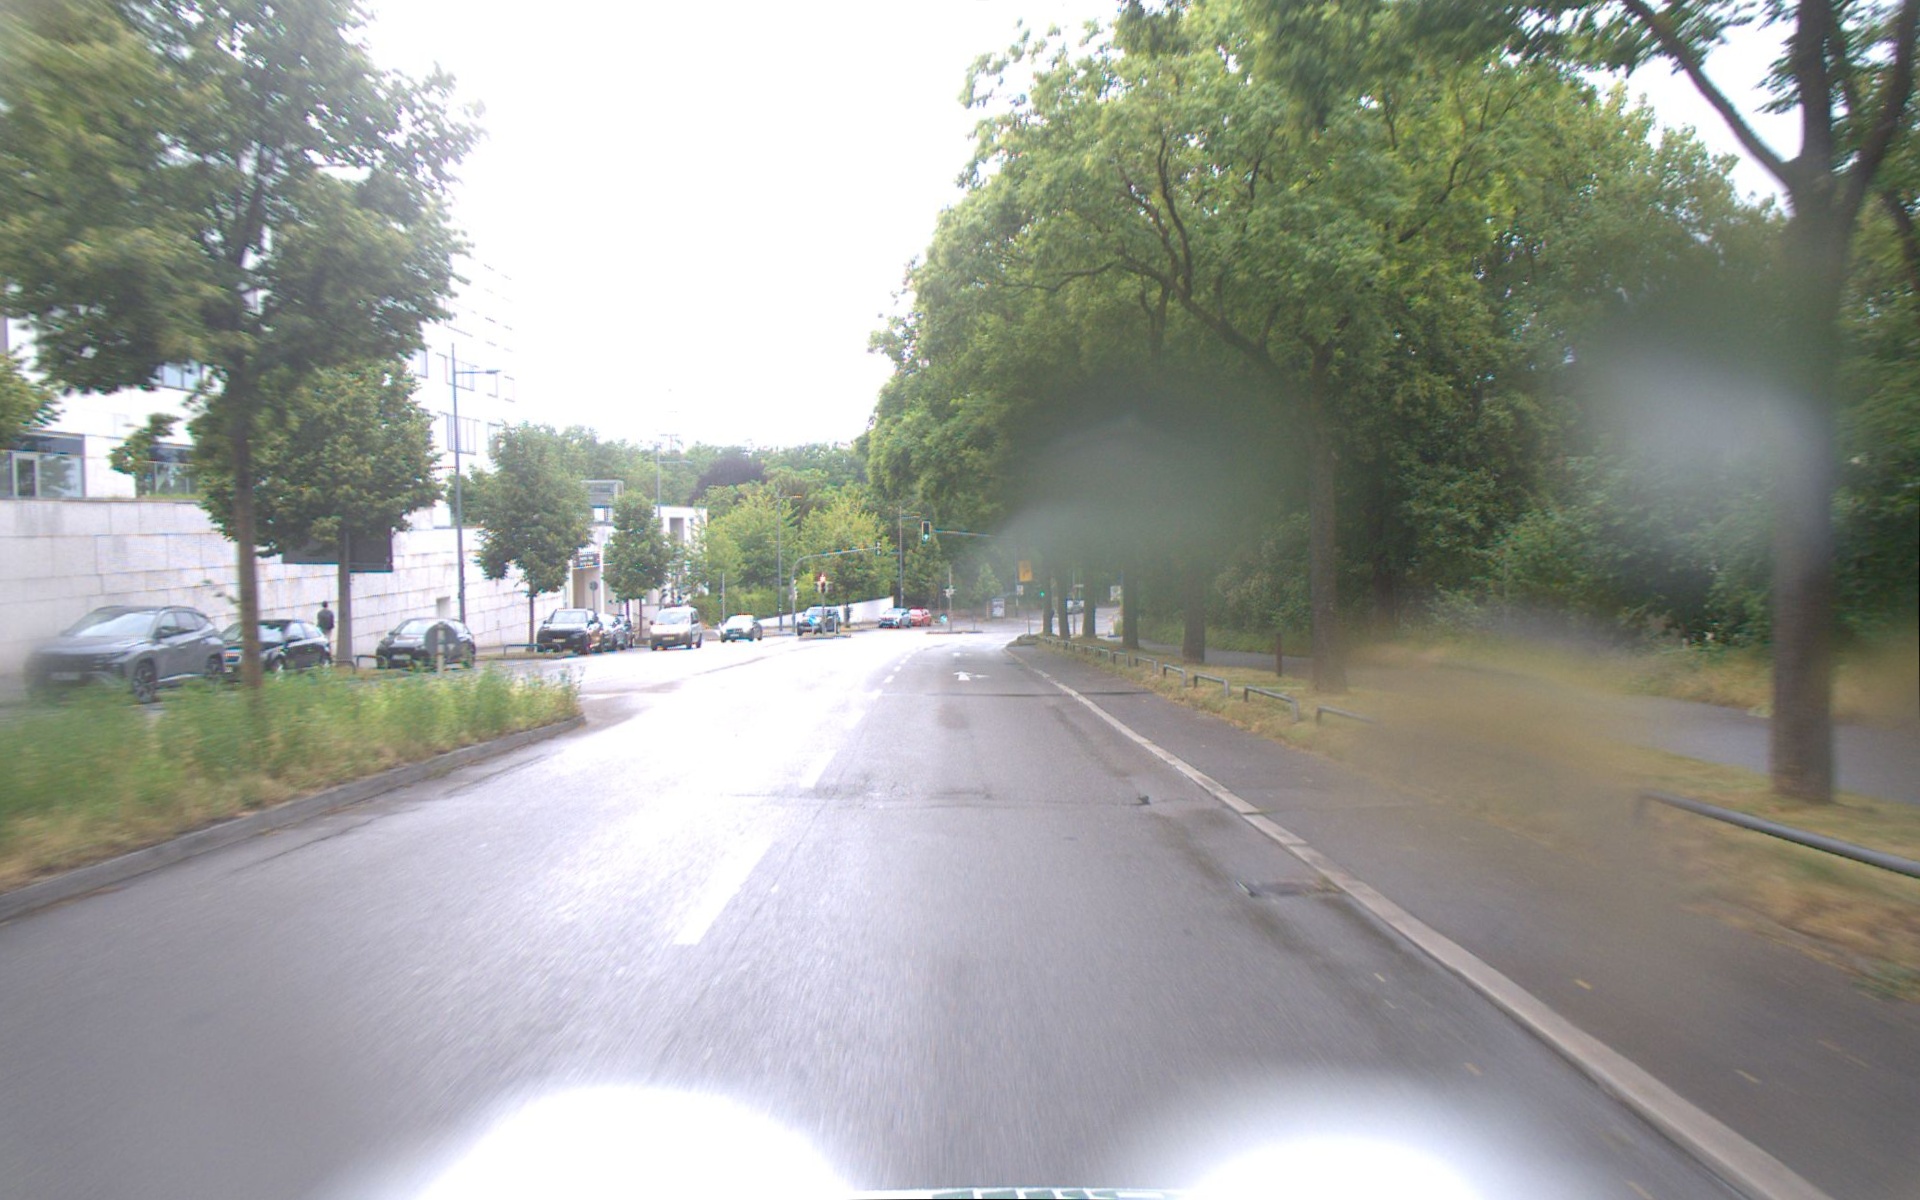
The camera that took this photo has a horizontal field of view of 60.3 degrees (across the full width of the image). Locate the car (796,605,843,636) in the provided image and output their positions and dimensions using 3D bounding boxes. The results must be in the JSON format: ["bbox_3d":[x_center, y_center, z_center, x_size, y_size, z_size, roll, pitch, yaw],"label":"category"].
[{"bbox_3d":[-9.637,1.389,113.708,1.880,1.889,4.510,-5,0,12],"label":"car"}]

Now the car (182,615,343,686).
[{"bbox_3d":[-14.833,1.045,35.429,1.660,1.384,4.163,-1,0,0],"label":"car"}]

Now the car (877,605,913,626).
[{"bbox_3d":[-5.544,1.314,140.670,1.814,1.668,4.096,2,1,16],"label":"car"}]

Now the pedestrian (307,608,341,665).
[{"bbox_3d":[-20.626,1.166,53.656,0.693,1.805,1.021,-1,-1,-1],"label":"pedestrian"}]

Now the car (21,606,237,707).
[{"bbox_3d":[-14.695,0.974,29.540,1.668,1.649,4.361,-1,-1,0],"label":"car"}]

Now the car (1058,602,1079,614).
[{"bbox_3d":[13.180,0.983,200.238,1.677,1.486,3.752,0,-1,18],"label":"car"}]

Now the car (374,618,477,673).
[{"bbox_3d":[-14.846,1.237,46.132,1.645,1.451,3.964,0,-1,-1],"label":"car"}]

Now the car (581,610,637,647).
[{"bbox_3d":[-15.028,1.204,70.896,1.645,1.541,3.709,0,-1,-1],"label":"car"}]

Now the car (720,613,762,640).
[{"bbox_3d":[-12.111,1.463,91.711,1.734,1.405,4.189,-3,-1,-1],"label":"car"}]

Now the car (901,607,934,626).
[{"bbox_3d":[-3.779,1.431,147.887,1.835,1.602,4.226,2,0,14],"label":"car"}]

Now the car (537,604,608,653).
[{"bbox_3d":[-15.202,1.104,65.095,1.819,1.812,4.594,-1,-1,-2],"label":"car"}]

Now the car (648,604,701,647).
[{"bbox_3d":[-12.509,1.098,72.743,1.675,1.777,4.336,-1,0,-2],"label":"car"}]
